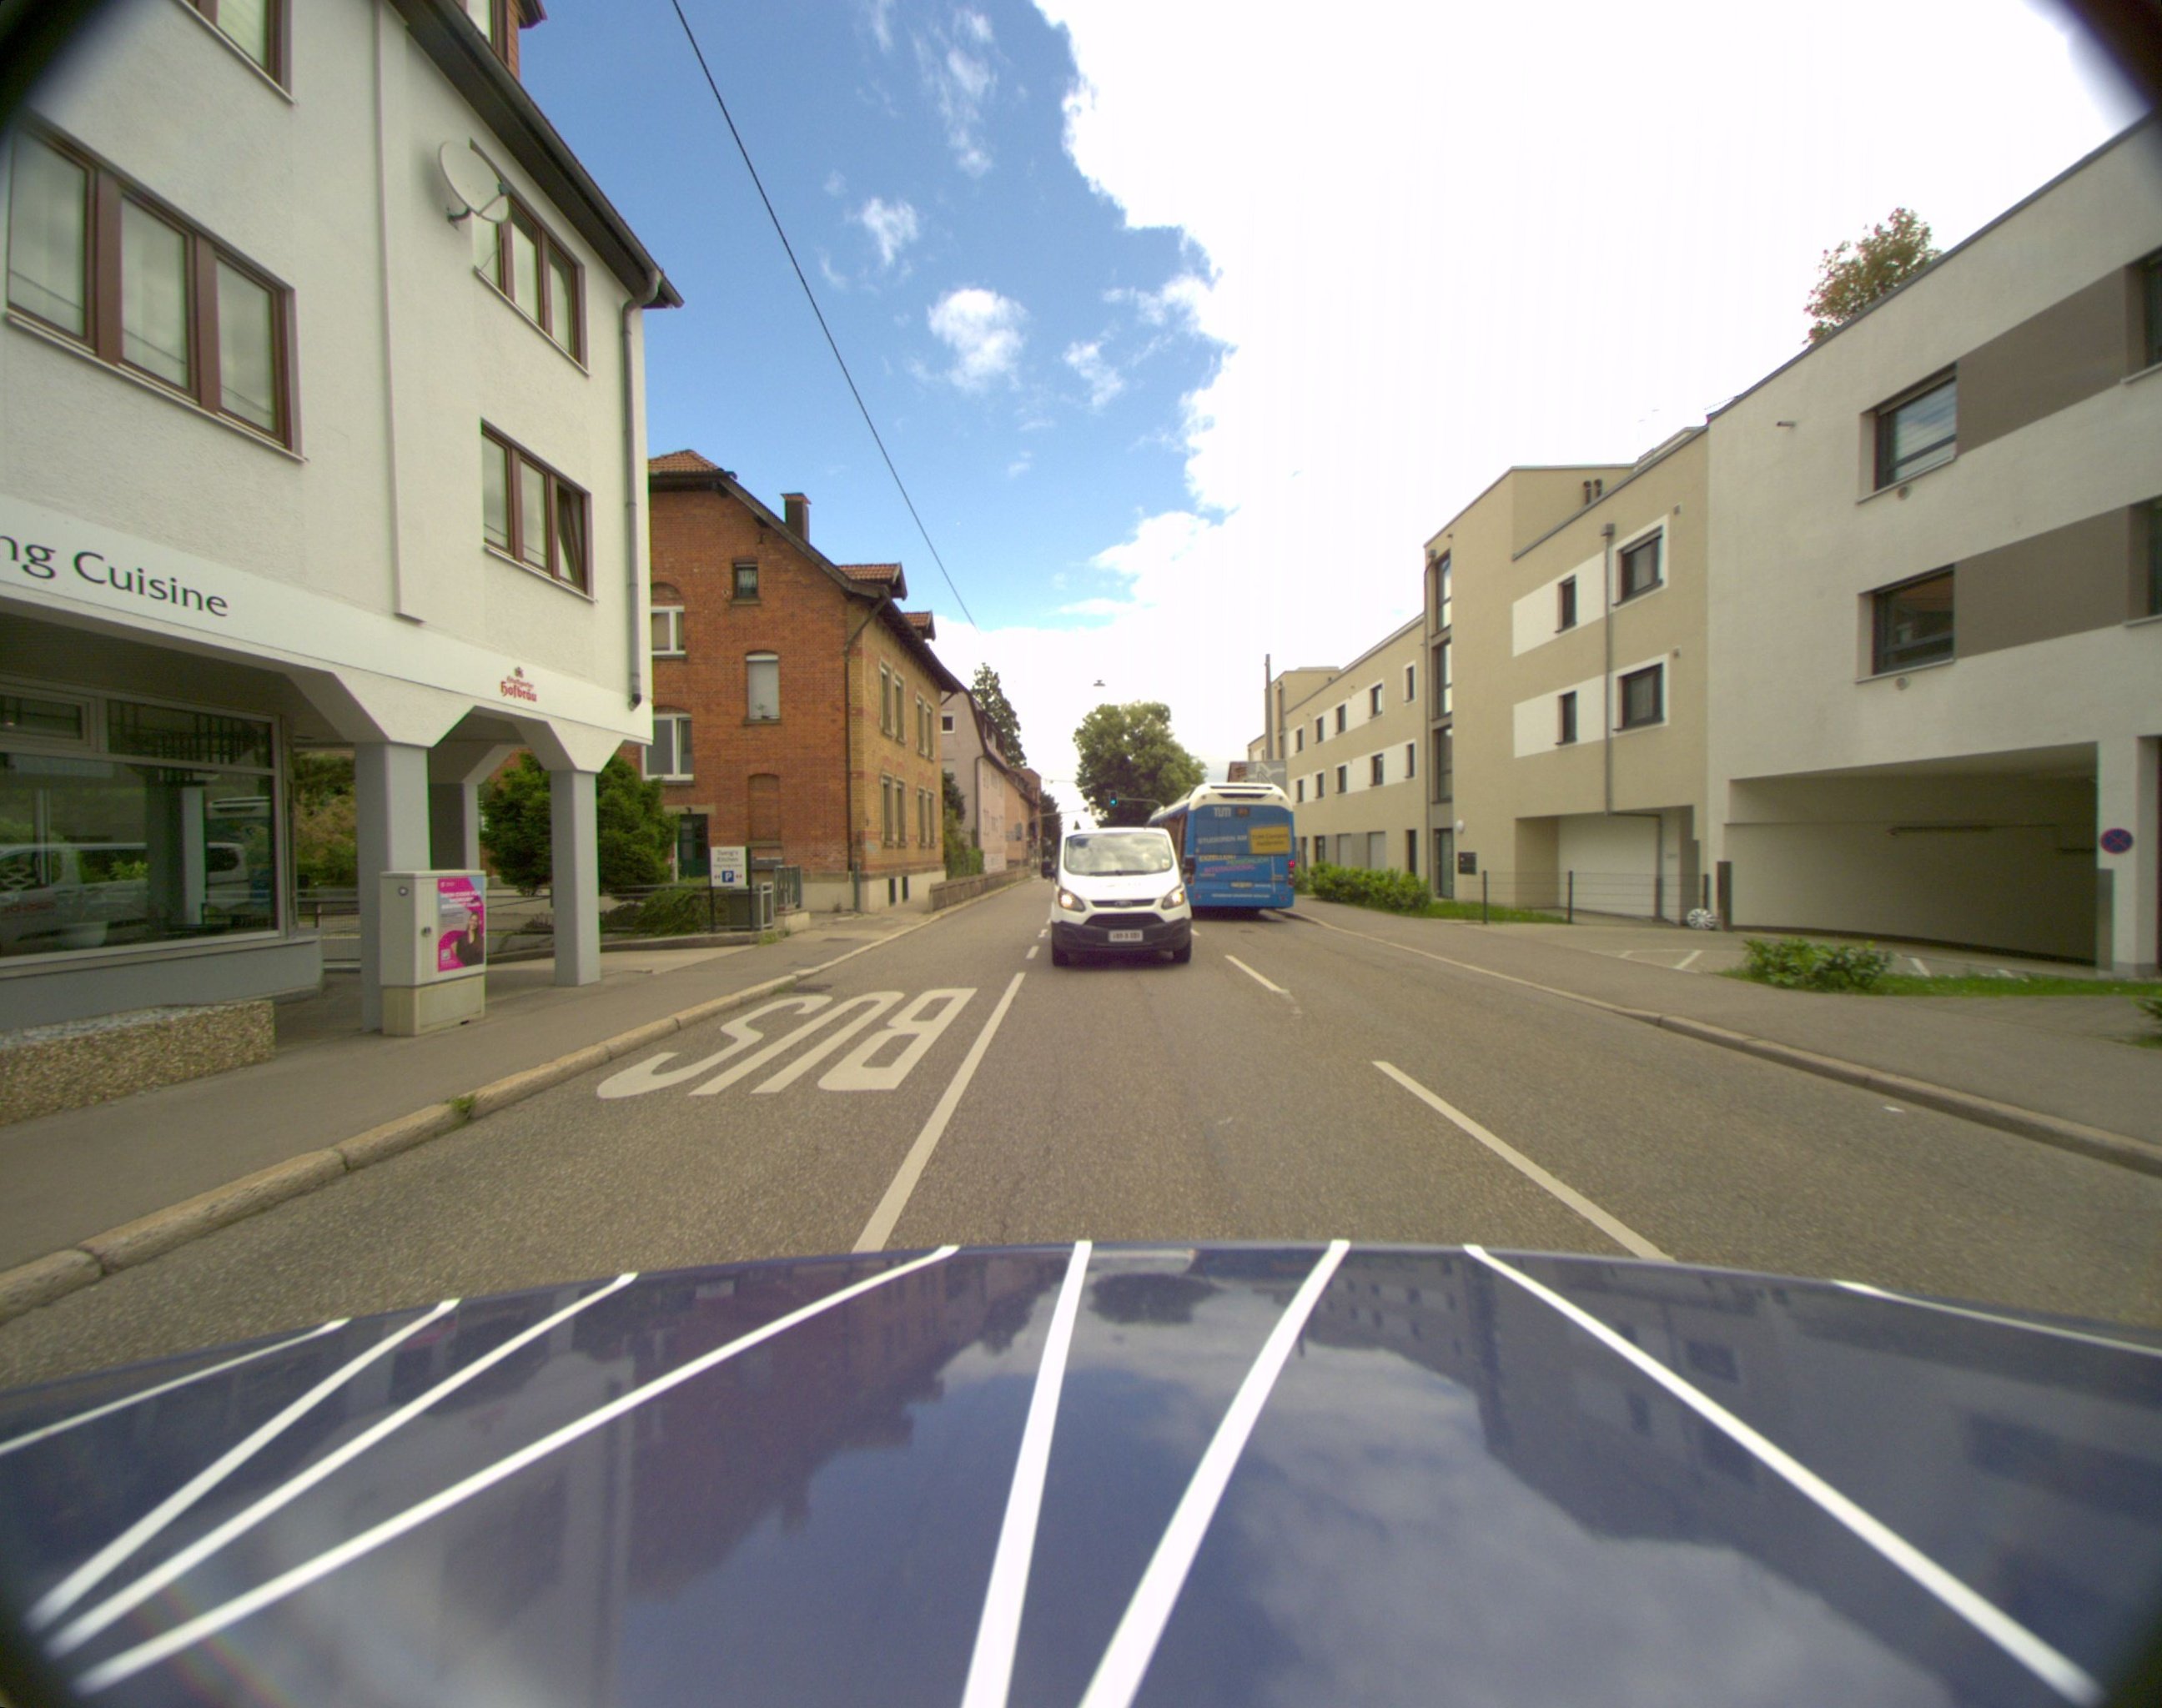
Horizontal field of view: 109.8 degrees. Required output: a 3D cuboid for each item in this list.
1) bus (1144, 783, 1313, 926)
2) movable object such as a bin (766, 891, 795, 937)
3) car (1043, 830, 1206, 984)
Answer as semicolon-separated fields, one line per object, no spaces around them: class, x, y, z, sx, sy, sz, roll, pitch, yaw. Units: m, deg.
bus;3.875;0.006;23.401;2.950;3.255;12.007;0;0;0
movable object such as a bin;-6.264;1.248;15.871;0.398;0.898;0.456;-1;1;1
car;0.566;0.672;12.335;2.062;1.945;5.060;-1;0;0
